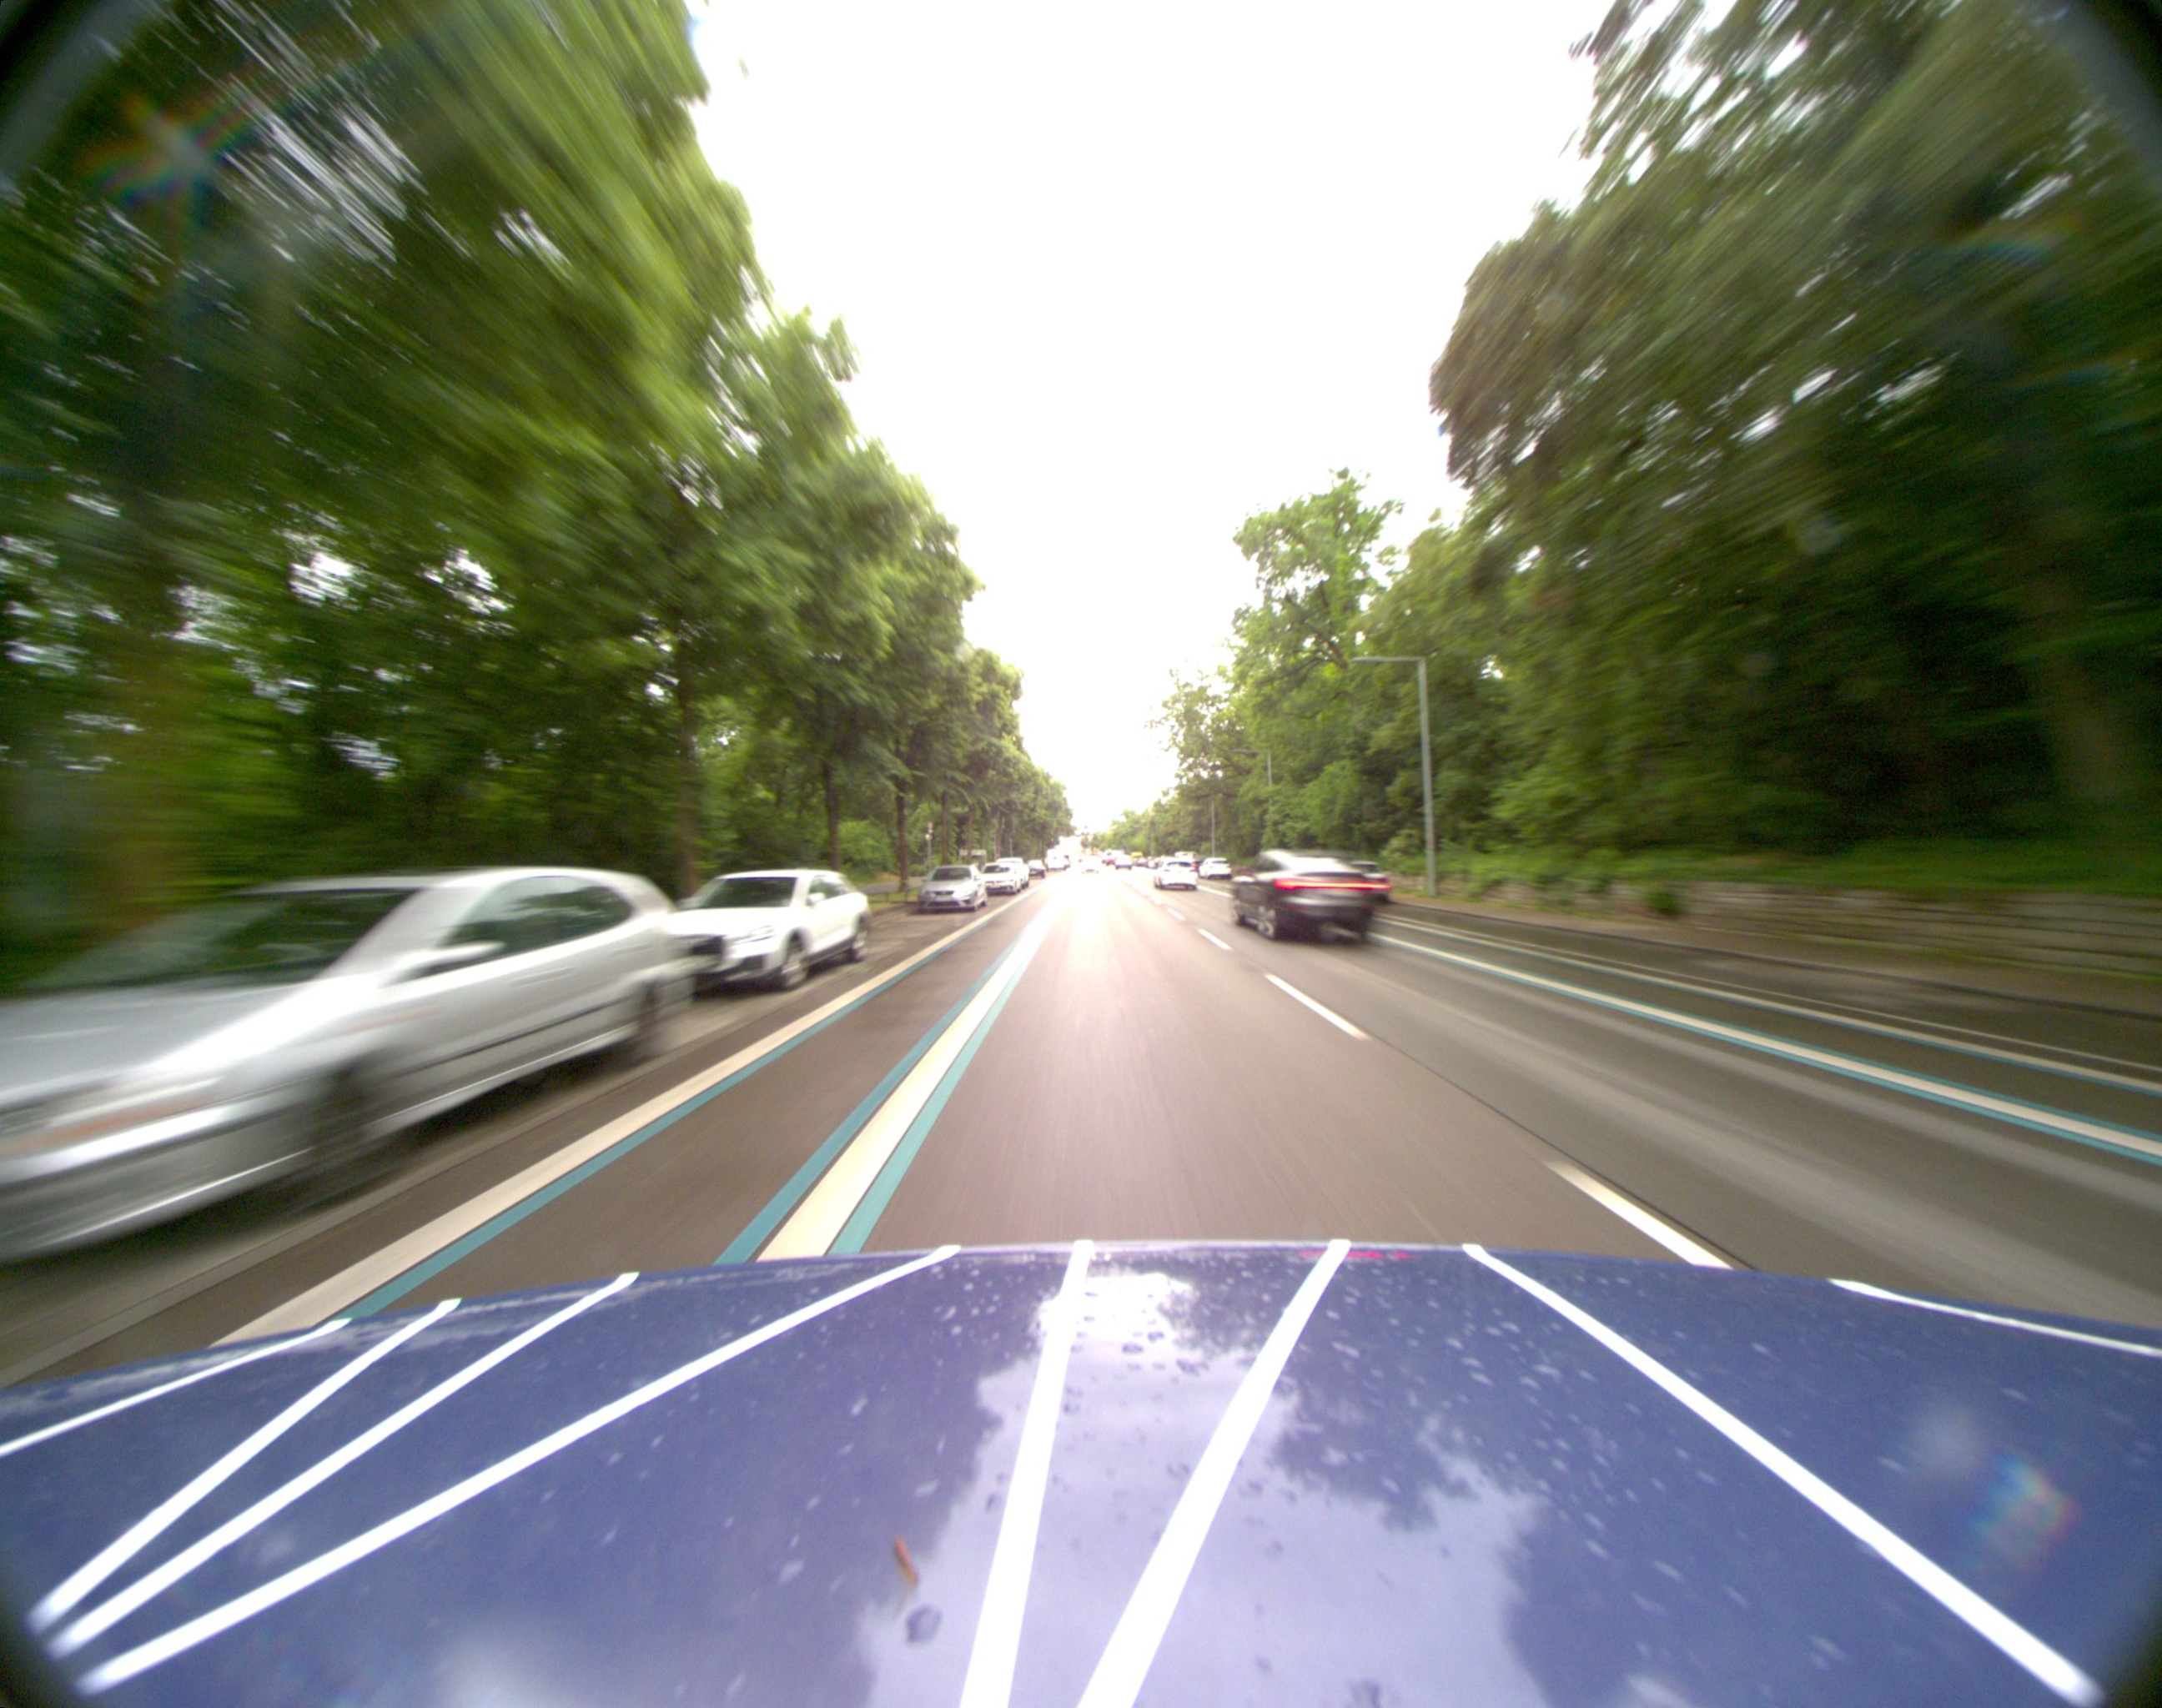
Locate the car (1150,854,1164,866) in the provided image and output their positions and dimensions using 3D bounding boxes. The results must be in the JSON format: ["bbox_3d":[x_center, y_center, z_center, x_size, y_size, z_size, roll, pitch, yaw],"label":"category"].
[{"bbox_3d":[9.946,0.755,99.966,1.527,1.584,2.860,0,0,0],"label":"car"}]

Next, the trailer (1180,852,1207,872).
[{"bbox_3d":[9.840,0.673,66.220,1.347,1.647,2.271,0,0,39],"label":"trailer"}]

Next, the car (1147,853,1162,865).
[{"bbox_3d":[10.068,0.729,104.242,1.819,1.579,3.993,-1,0,2],"label":"car"}]

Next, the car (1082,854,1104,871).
[{"bbox_3d":[1.151,0.783,72.290,1.998,1.588,4.000,-2,0,1],"label":"car"}]

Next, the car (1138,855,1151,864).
[{"bbox_3d":[10.040,0.893,120.127,1.825,1.285,4.206,-1,0,1],"label":"car"}]

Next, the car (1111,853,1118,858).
[{"bbox_3d":[9.828,0.421,222.121,1.825,1.427,3.559,-1,0,1],"label":"car"}]

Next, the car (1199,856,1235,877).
[{"bbox_3d":[9.673,0.860,54.395,1.759,1.427,4.356,-1,0,-1],"label":"car"}]

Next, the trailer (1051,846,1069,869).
[{"bbox_3d":[-2.517,0.393,89.517,1.988,2.550,3.999,-2,0,-2],"label":"trailer"}]

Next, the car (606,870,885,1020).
[{"bbox_3d":[-4.296,1.061,10.646,1.702,1.504,4.470,-2,0,2],"label":"car"}]

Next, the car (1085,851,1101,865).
[{"bbox_3d":[1.535,0.490,95.832,1.998,1.629,4.000,0,0,1],"label":"car"}]

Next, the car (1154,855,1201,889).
[{"bbox_3d":[4.518,0.819,36.058,1.780,1.457,4.063,1,0,1],"label":"car"}]

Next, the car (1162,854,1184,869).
[{"bbox_3d":[9.867,0.783,81.740,1.811,1.489,4.753,0,1,1],"label":"car"}]

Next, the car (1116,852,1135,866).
[{"bbox_3d":[5.265,0.575,90.531,1.958,1.629,4.445,1,0,1],"label":"car"}]

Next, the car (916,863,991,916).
[{"bbox_3d":[-3.981,1.073,24.306,1.702,1.445,4.097,-2,0,-1],"label":"car"}]

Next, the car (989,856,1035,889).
[{"bbox_3d":[-3.667,0.946,40.925,1.998,1.652,4.562,-1,0,0],"label":"car"}]

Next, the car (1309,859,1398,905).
[{"bbox_3d":[9.271,0.918,26.195,1.694,1.397,4.028,-2,0,2],"label":"car"}]

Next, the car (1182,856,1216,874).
[{"bbox_3d":[9.422,0.867,60.953,1.826,1.390,4.444,-1,0,-2],"label":"car"}]

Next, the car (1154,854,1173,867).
[{"bbox_3d":[10.242,0.798,94.437,1.901,1.466,4.553,-1,0,0],"label":"car"}]

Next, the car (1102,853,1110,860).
[{"bbox_3d":[5.768,0.552,174.678,1.769,1.449,4.496,-1,0,1],"label":"car"}]

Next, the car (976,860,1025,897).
[{"bbox_3d":[-3.563,1.060,34.353,1.702,1.445,3.946,-2,0,0],"label":"car"}]

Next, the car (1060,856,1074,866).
[{"bbox_3d":[-1.980,0.978,107.234,1.804,1.455,4.000,-1,0,0],"label":"car"}]

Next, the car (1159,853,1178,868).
[{"bbox_3d":[10.127,0.714,88.267,1.740,1.651,4.673,-1,0,0],"label":"car"}]

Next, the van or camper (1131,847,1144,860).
[{"bbox_3d":[10.831,-0.028,145.592,2.165,2.437,4.436,-1,0,1],"label":"van or camper"}]

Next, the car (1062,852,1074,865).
[{"bbox_3d":[-2.335,0.848,137.322,1.998,2.231,4.000,-2,1,1],"label":"car"}]

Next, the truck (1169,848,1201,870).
[{"bbox_3d":[9.729,0.448,71.656,2.099,2.002,5.158,-1,0,-2],"label":"truck"}]

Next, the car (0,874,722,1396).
[{"bbox_3d":[-4.341,1.015,4.867,1.757,1.587,4.740,-2,0,0],"label":"car"}]

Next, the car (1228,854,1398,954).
[{"bbox_3d":[4.249,0.818,14.746,1.966,1.608,4.466,1,0,1],"label":"car"}]

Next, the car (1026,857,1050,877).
[{"bbox_3d":[-3.401,1.000,60.404,1.700,1.468,3.997,-1,0,-1],"label":"car"}]

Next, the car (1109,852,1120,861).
[{"bbox_3d":[6.238,0.426,141.492,2.043,1.639,4.477,0,0,1],"label":"car"}]
